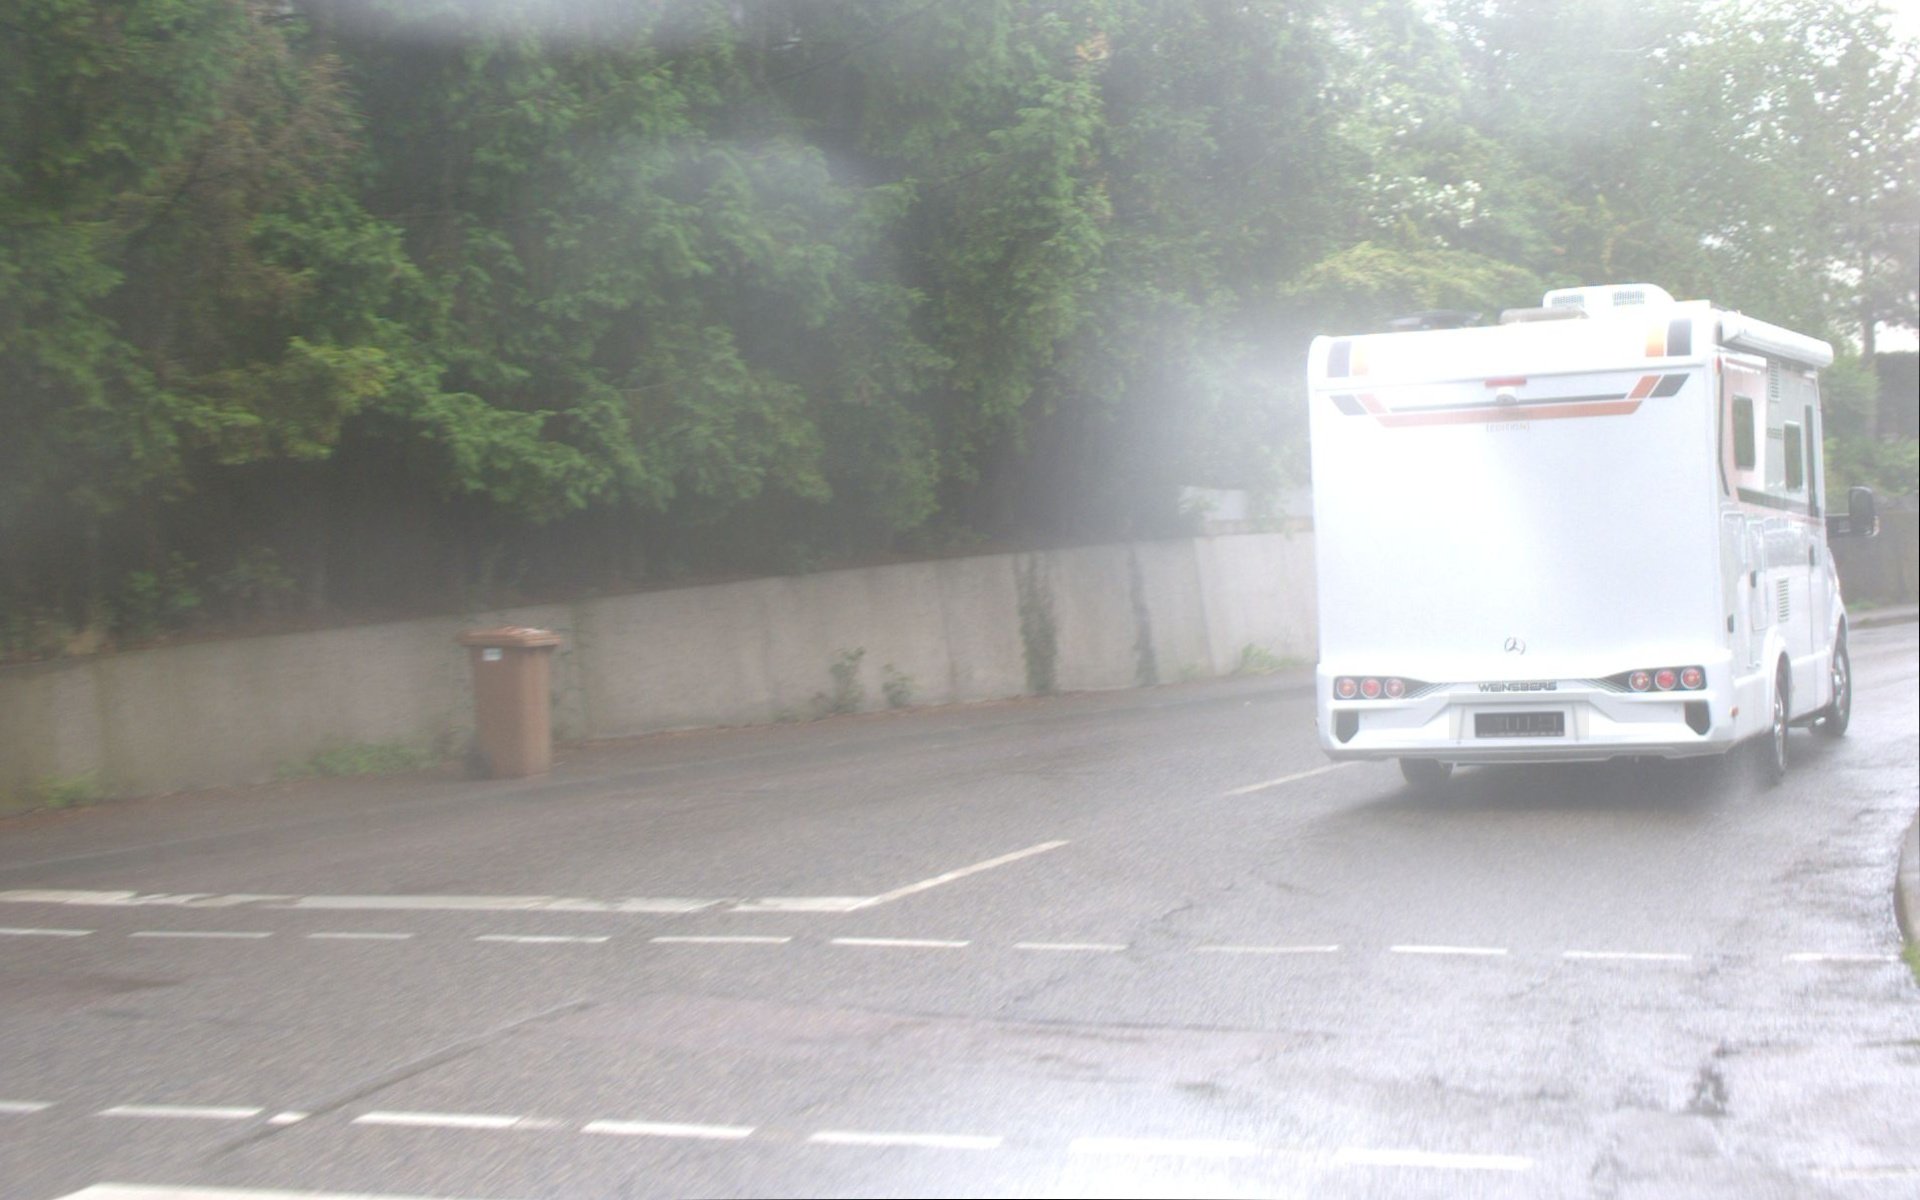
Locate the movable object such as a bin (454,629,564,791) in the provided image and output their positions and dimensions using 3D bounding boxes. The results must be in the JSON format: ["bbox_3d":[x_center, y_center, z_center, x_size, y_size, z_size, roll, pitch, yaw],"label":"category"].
[{"bbox_3d":[-2.818,0.682,21.485,0.500,0.976,0.490,1,2,22],"label":"movable object such as a bin"}]

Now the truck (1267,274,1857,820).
[{"bbox_3d":[3.900,-0.303,21.038,2.518,2.808,6.195,-1,1,20],"label":"truck"}]
